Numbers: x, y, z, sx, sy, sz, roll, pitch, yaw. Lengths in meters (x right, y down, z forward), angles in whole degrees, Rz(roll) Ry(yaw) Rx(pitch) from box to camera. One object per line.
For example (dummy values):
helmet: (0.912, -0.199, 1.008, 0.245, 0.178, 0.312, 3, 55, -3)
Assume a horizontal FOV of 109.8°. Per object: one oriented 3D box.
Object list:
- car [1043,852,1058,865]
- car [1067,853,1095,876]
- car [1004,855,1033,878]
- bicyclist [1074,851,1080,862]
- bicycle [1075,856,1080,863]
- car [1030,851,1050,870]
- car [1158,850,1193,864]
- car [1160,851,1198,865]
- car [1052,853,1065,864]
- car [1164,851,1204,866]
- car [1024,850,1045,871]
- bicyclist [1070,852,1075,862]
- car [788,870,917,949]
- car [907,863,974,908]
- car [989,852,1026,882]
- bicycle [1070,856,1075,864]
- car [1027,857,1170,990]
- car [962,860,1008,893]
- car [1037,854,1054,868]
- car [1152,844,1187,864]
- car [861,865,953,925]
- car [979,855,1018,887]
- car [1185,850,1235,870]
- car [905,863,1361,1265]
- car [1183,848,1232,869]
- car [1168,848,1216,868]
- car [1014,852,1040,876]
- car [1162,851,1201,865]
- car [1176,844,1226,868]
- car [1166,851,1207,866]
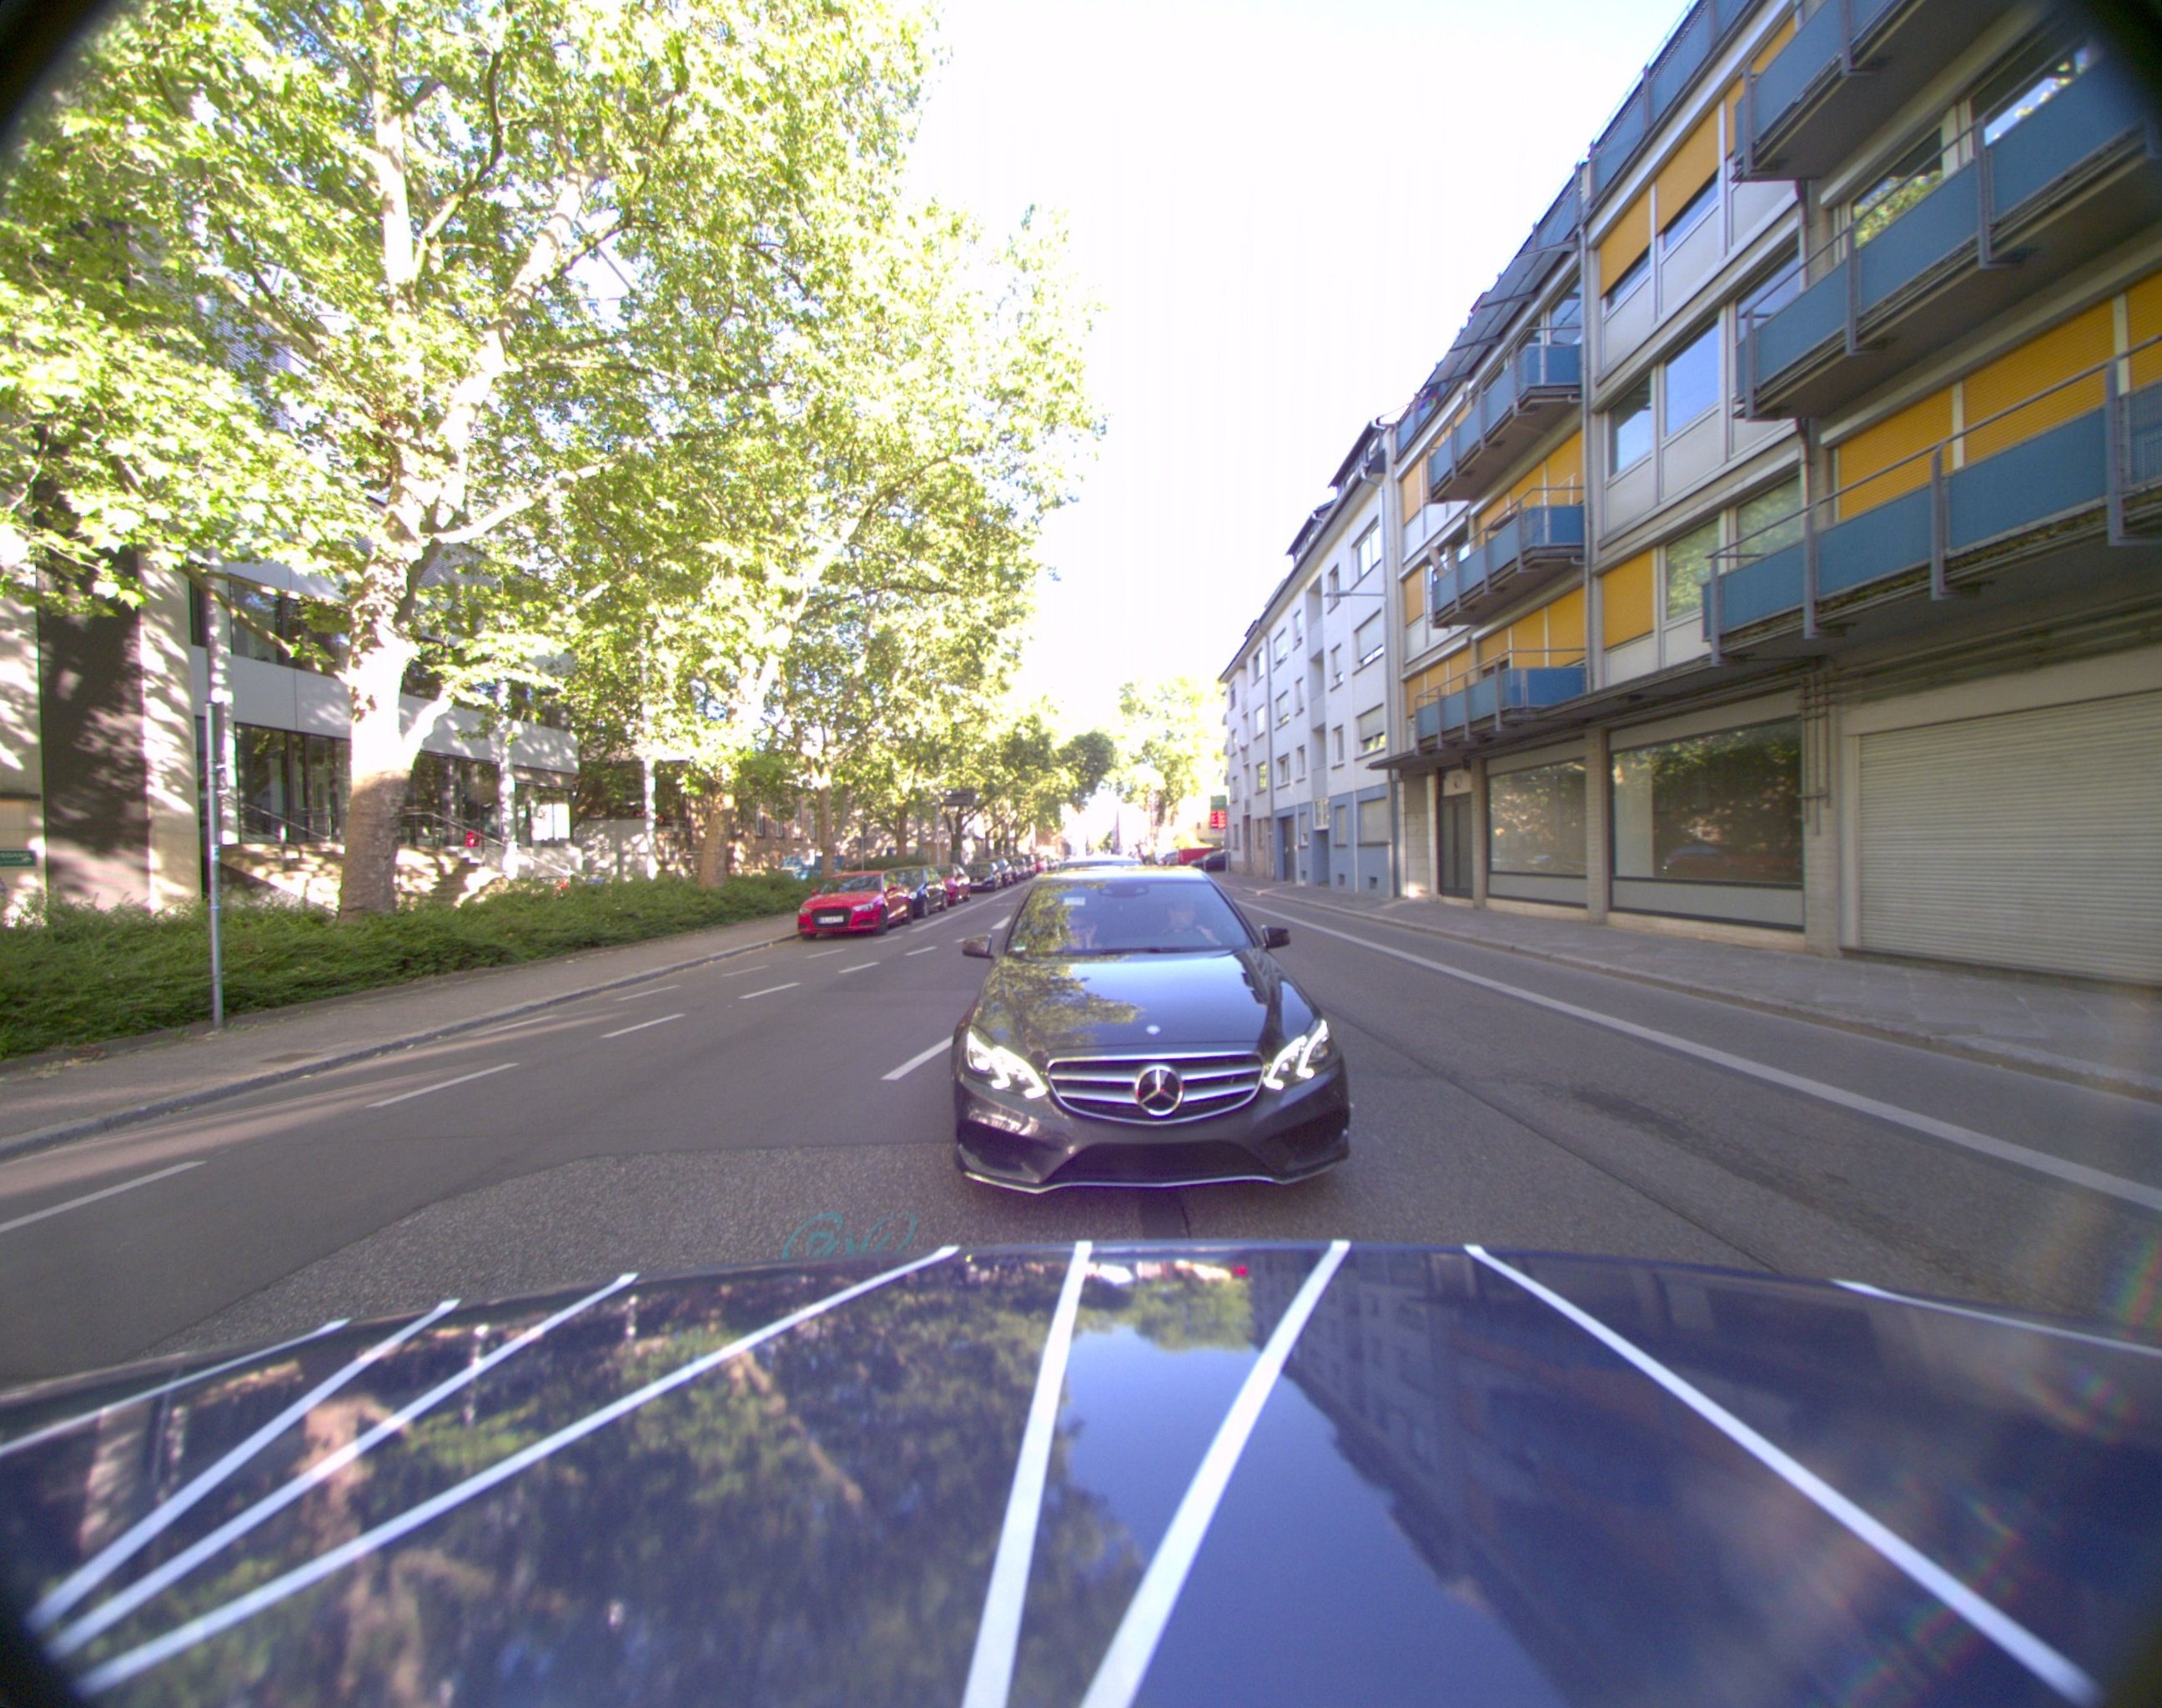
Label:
car: (-3.782, 0.596, 95.683, 1.686, 1.546, 3.836, -2, 0, 0)
car: (0.031, 0.696, 52.712, 1.693, 1.432, 3.902, -3, 1, 3)
car: (-4.421, 0.874, 54.510, 1.686, 1.552, 3.868, -2, 0, 0)
bicyclist: (-0.624, 0.387, 117.820, 0.756, 1.714, 0.768, -2, 1, -1)
bicycle: (-0.559, 0.810, 117.768, 0.667, 1.093, 1.814, -2, 1, 0)
car: (-4.091, 0.634, 76.015, 1.686, 1.749, 3.836, -2, 0, 0)
car: (10.549, 0.330, 84.812, 3.782, 1.432, 1.539, -2, 1, 2)
car: (10.537, 0.398, 82.127, 3.905, 1.325, 1.525, -2, 1, 2)
car: (-3.118, 0.648, 106.826, 1.686, 1.475, 3.836, -2, 0, 0)
car: (10.411, 0.426, 76.984, 3.905, 1.366, 1.594, -2, 1, 2)
car: (-4.245, 0.588, 70.224, 1.646, 1.839, 3.836, -2, 0, 0)
bicyclist: (-1.256, 0.500, 114.333, 0.756, 1.512, 0.768, -2, 1, -1)
car: (-5.130, 1.189, 17.658, 1.724, 1.412, 4.030, -4, 0, -1)
car: (-5.007, 1.093, 27.601, 1.666, 1.426, 3.781, -2, 0, 0)
car: (-4.590, 0.771, 48.187, 1.819, 1.758, 4.431, -2, 0, 0)
bicycle: (-1.230, 0.868, 114.418, 0.667, 1.093, 1.814, -2, 1, 0)
car: (0.206, 0.880, 11.656, 1.732, 1.538, 4.293, -2, 1, 0)
car: (-4.662, 1.047, 37.402, 1.686, 1.443, 4.000, -2, 0, 0)
car: (-4.044, 0.744, 87.060, 1.639, 1.493, 3.752, -2, 0, 0)
car: (10.409, 0.022, 89.305, 3.905, 2.164, 1.725, -2, 1, 2)
car: (-5.011, 1.128, 22.416, 1.686, 1.458, 4.000, -3, 0, 0)
car: (-4.534, 0.907, 42.061, 1.686, 1.610, 3.836, -2, 0, 0)
car: (9.965, 0.455, 58.726, 3.598, 1.401, 1.534, -2, 0, 2)
car: (0.213, 0.896, 5.280, 1.828, 1.495, 4.293, -2, 1, 0)
car: (10.134, 0.355, 61.131, 3.668, 1.501, 1.602, -2, 1, 2)
car: (9.721, 0.328, 66.771, 3.905, 1.577, 1.603, -2, 1, 2)
car: (-4.212, 0.752, 59.367, 1.663, 1.704, 3.836, -2, 0, 0)
car: (10.527, 0.425, 79.738, 3.905, 1.325, 1.525, -2, 1, 2)
car: (10.080, 0.163, 63.976, 3.905, 1.895, 1.749, -2, 1, 2)
car: (10.379, 0.449, 74.962, 3.905, 1.366, 1.594, -2, 1, 2)
